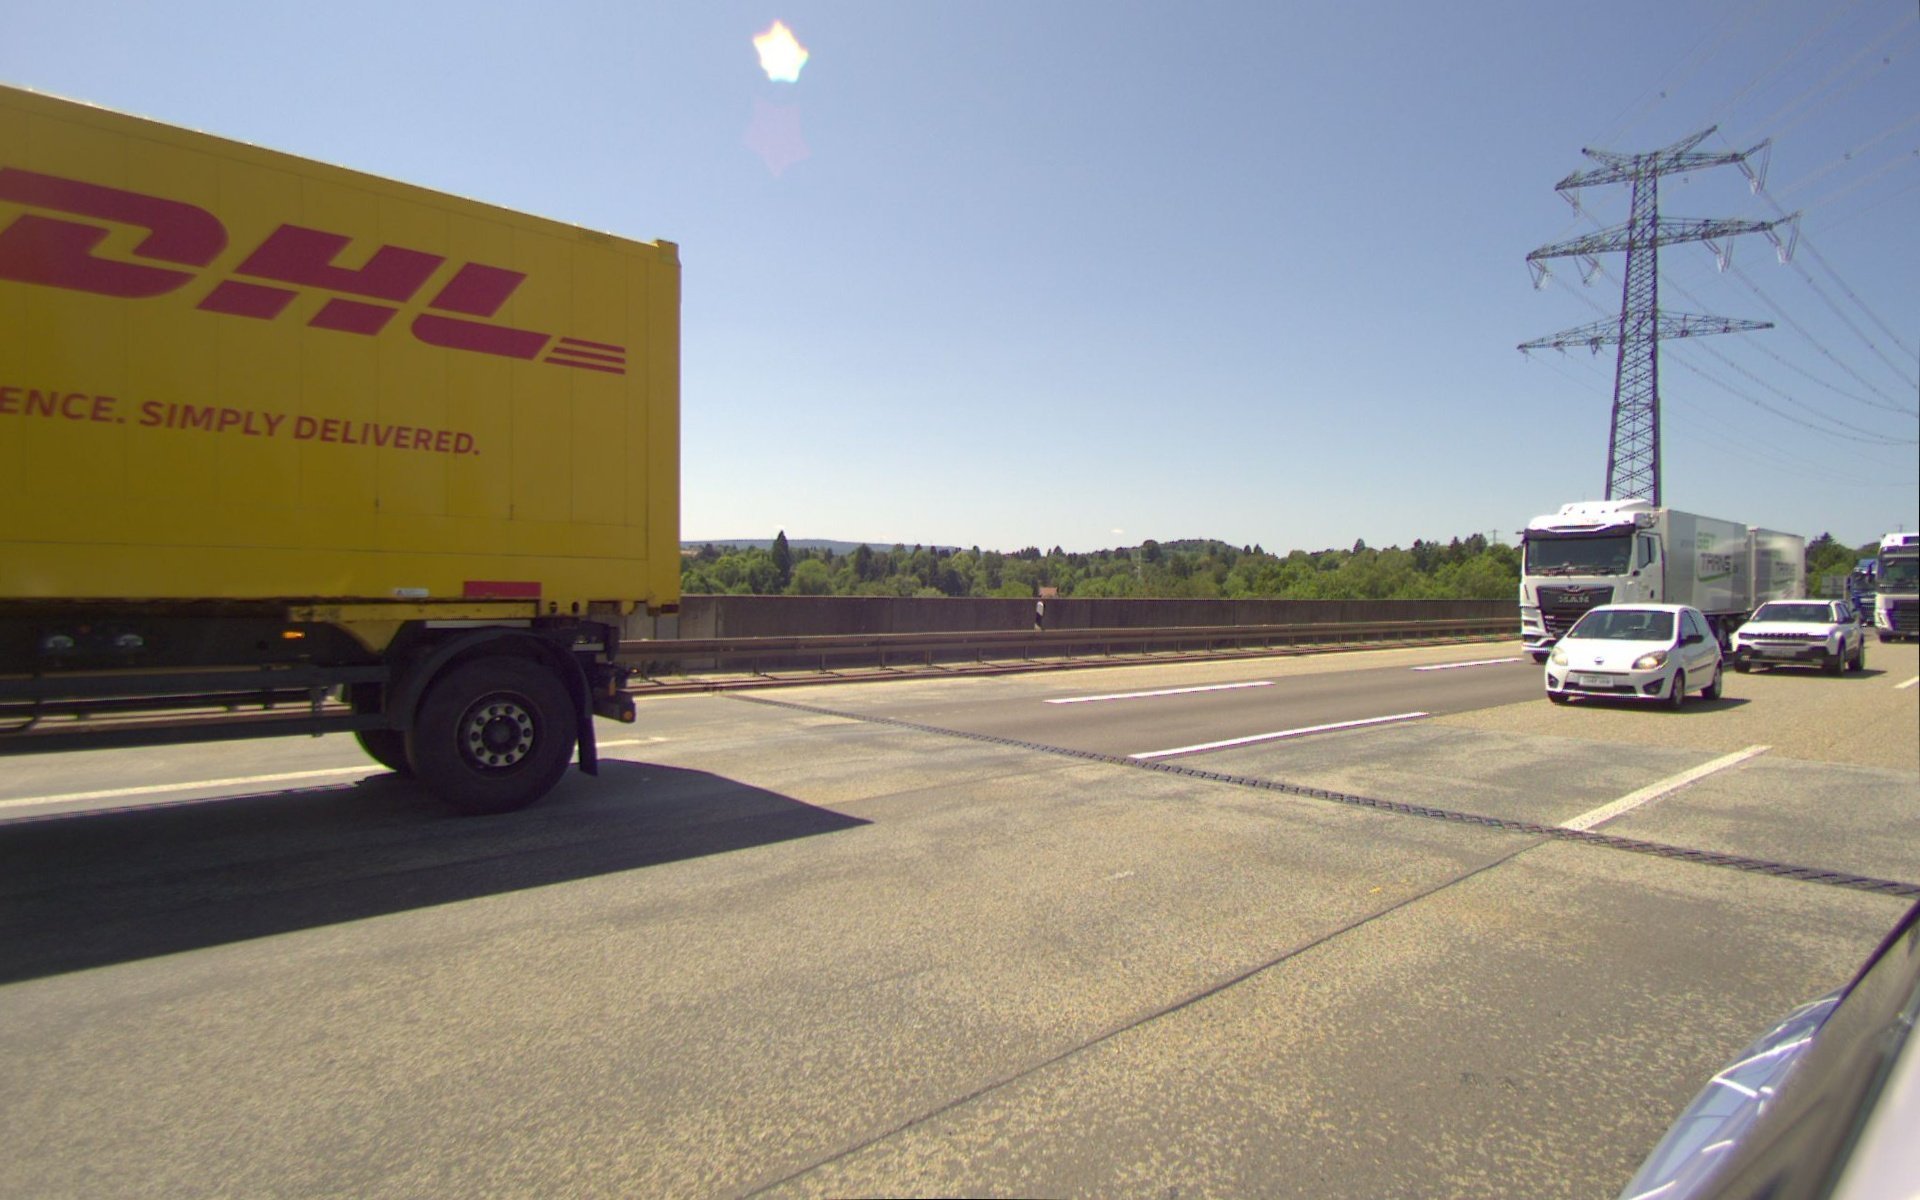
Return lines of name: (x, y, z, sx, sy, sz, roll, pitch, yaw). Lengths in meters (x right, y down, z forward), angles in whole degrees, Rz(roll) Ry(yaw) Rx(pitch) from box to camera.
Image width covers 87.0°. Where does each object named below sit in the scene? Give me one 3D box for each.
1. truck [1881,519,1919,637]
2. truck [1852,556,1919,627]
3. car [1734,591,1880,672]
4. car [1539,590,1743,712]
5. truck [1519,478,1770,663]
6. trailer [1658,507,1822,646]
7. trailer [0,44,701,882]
truck: (38.899, -0.746, 39.424, 14.004, 4.090, 2.716, 0, -1, -41)
truck: (56.248, -0.548, 60.634, 11.079, 3.929, 2.837, -1, 0, -42)
car: (17.984, 0.601, 21.441, 3.784, 1.549, 1.775, -1, 0, -40)
car: (10.351, 0.660, 15.293, 3.760, 1.529, 1.658, -1, 3, -42)
truck: (18.156, -0.641, 26.367, 11.101, 3.980, 2.693, 0, 0, -41)
trailer: (25.233, -0.680, 32.593, 7.638, 3.991, 2.749, 0, 0, -41)
trailer: (-6.286, -0.683, 5.537, 9.213, 4.170, 2.770, 0, 0, -41)
